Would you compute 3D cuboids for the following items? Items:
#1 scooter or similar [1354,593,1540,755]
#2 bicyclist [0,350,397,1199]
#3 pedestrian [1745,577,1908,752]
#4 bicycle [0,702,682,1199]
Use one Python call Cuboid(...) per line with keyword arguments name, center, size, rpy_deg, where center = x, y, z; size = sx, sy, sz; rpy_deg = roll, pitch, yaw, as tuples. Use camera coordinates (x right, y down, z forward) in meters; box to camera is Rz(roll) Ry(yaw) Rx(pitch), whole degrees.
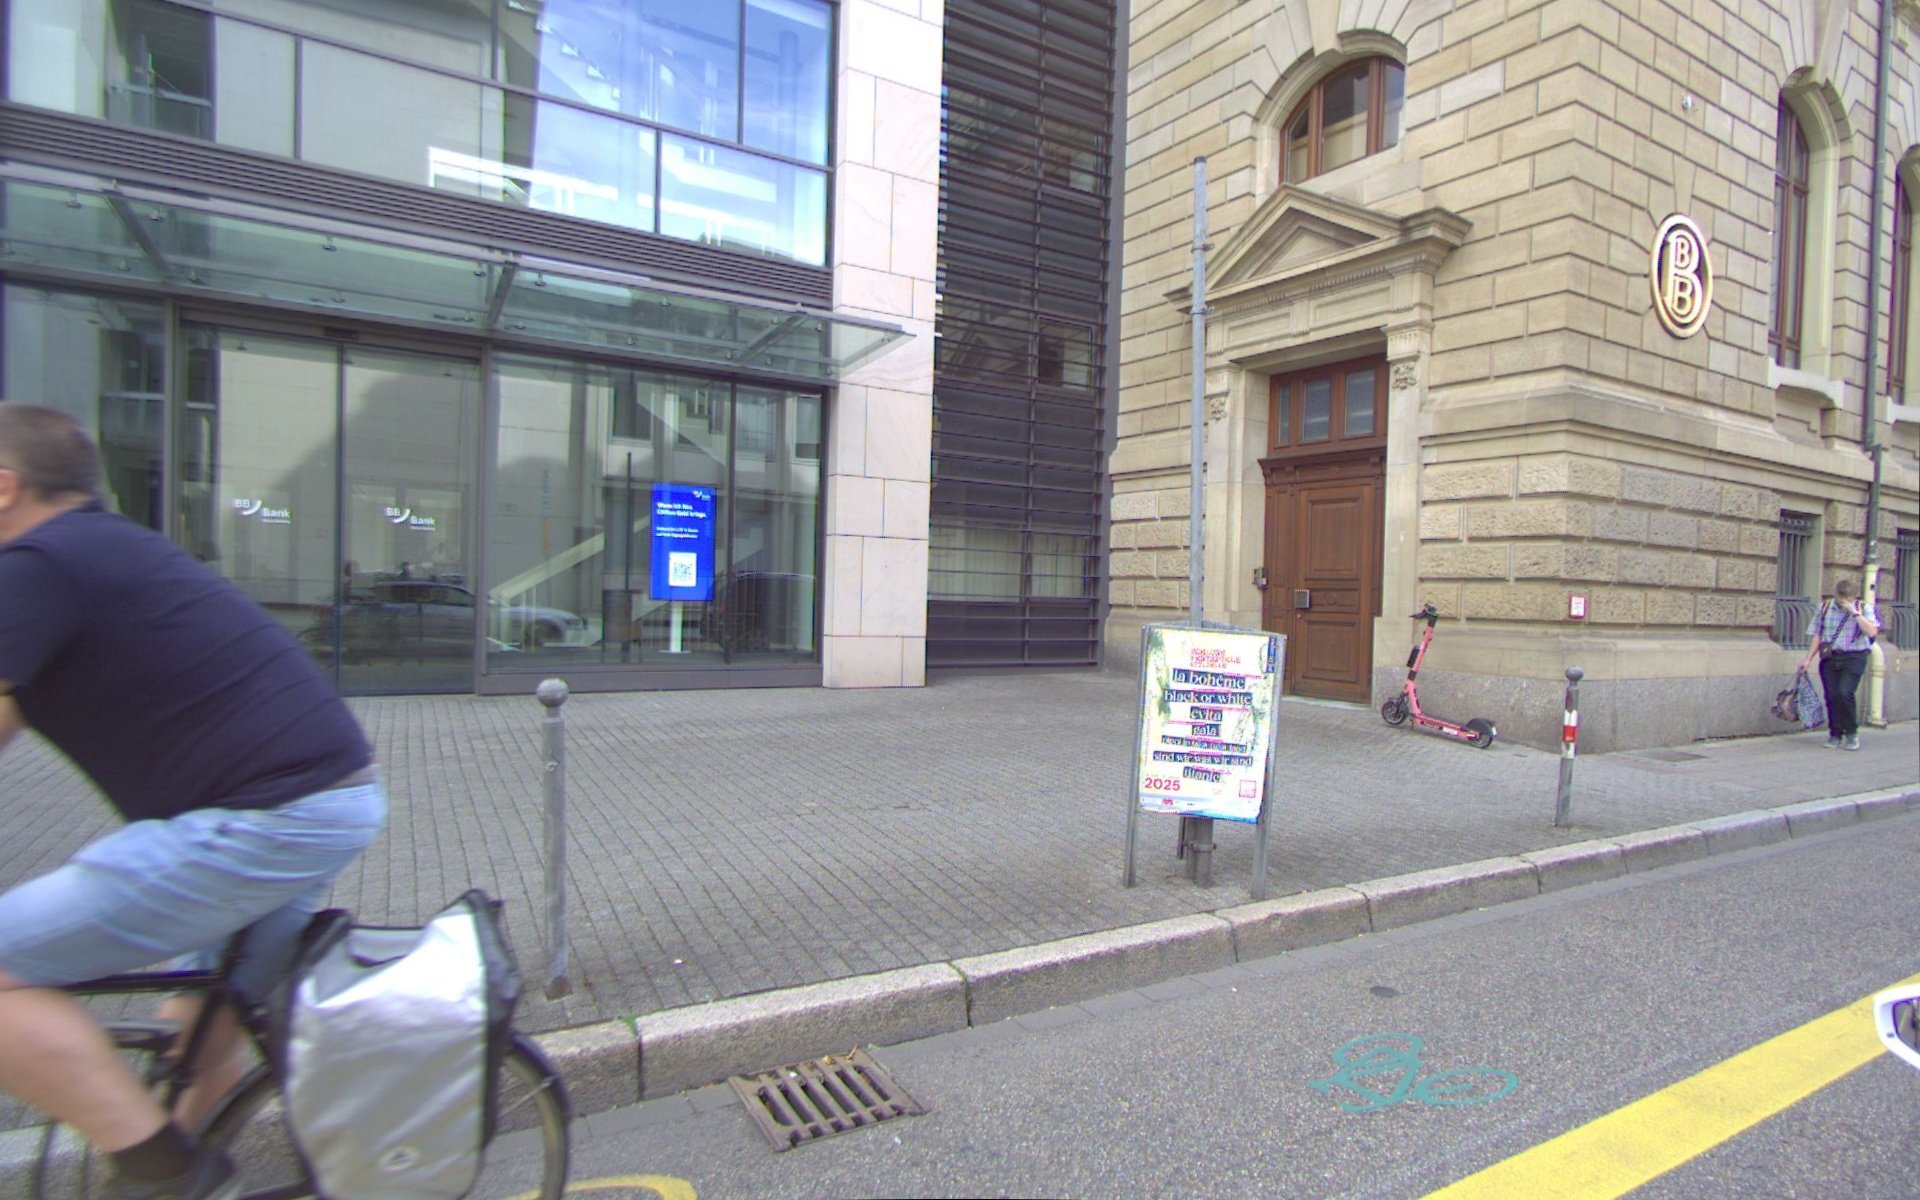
Cuboid(name="scooter or similar", center=(4.559, 0.640, 9.504), size=(0.580, 1.328, 1.439), rpy_deg=(0, 4, -30))
Cuboid(name="bicyclist", center=(-1.516, 0.491, 1.698), size=(0.929, 1.675, 0.639), rpy_deg=(2, -2, -32))
Cuboid(name="pedestrian", center=(9.274, 0.654, 10.774), size=(0.809, 1.743, 1.021), rpy_deg=(2, 2, -30))
Cuboid(name="bicycle", center=(-1.526, 0.844, 1.690), size=(1.931, 1.257, 0.643), rpy_deg=(2, -2, -32))
